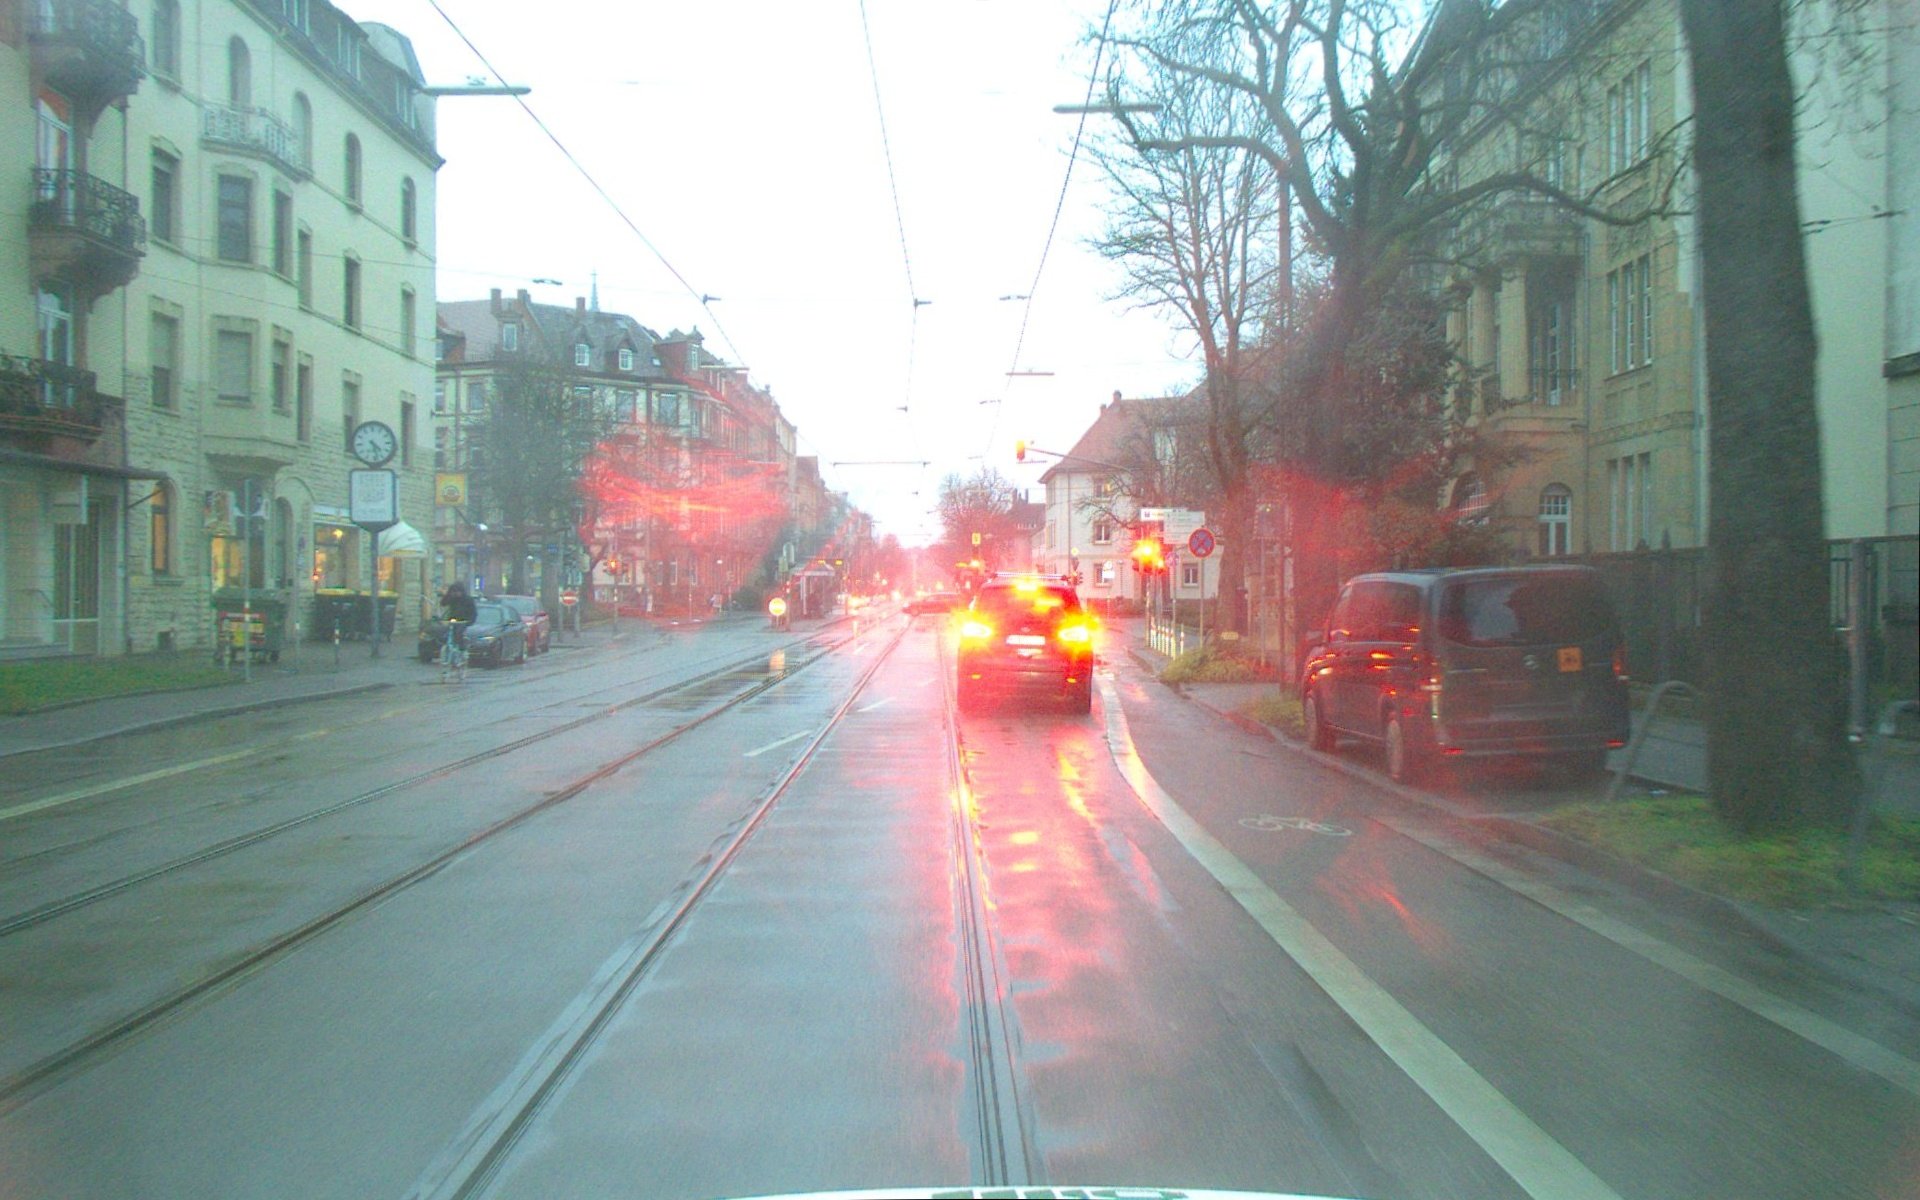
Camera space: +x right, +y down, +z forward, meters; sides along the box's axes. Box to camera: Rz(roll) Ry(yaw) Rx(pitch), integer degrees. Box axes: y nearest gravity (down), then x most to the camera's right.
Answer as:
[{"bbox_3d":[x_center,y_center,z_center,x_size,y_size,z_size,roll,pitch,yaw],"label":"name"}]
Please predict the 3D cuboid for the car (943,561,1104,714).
[{"bbox_3d":[0.799,0.511,23.651,1.953,1.930,4.757,1,-1,-2],"label":"car"}]

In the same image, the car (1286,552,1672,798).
[{"bbox_3d":[4.648,0.550,15.712,1.953,1.933,5.025,-1,1,-2],"label":"car"}]

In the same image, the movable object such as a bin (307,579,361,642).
[{"bbox_3d":[-16.649,0.277,44.027,0.993,1.628,1.081,-1,1,1],"label":"movable object such as a bin"}]

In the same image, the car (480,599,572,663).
[{"bbox_3d":[-11.661,0.814,44.649,1.596,1.577,3.499,-1,1,-1],"label":"car"}]

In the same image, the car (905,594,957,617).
[{"bbox_3d":[-1.926,0.344,110.680,3.416,1.483,1.635,-1,1,1],"label":"car"}]

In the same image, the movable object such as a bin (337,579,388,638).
[{"bbox_3d":[-16.775,0.229,46.471,0.993,1.628,1.081,-1,1,1],"label":"movable object such as a bin"}]

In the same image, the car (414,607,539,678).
[{"bbox_3d":[-11.293,0.946,38.870,1.796,1.472,4.000,-1,1,-1],"label":"car"}]

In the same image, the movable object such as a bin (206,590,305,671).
[{"bbox_3d":[-14.063,0.586,33.084,1.380,1.557,1.364,-1,1,-1],"label":"movable object such as a bin"}]

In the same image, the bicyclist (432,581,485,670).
[{"bbox_3d":[-9.413,0.472,31.064,0.701,1.630,0.931,-1,1,-1],"label":"bicyclist"}]

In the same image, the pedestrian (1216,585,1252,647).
[{"bbox_3d":[9.214,0.532,55.580,1.002,2.049,0.918,-1,1,-4],"label":"pedestrian"}]

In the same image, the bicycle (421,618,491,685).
[{"bbox_3d":[-9.409,0.944,30.954,0.701,1.130,2.064,-1,1,-1],"label":"bicycle"}]

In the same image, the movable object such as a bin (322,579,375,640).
[{"bbox_3d":[-16.730,0.259,45.259,0.993,1.628,1.155,-1,1,1],"label":"movable object such as a bin"}]
